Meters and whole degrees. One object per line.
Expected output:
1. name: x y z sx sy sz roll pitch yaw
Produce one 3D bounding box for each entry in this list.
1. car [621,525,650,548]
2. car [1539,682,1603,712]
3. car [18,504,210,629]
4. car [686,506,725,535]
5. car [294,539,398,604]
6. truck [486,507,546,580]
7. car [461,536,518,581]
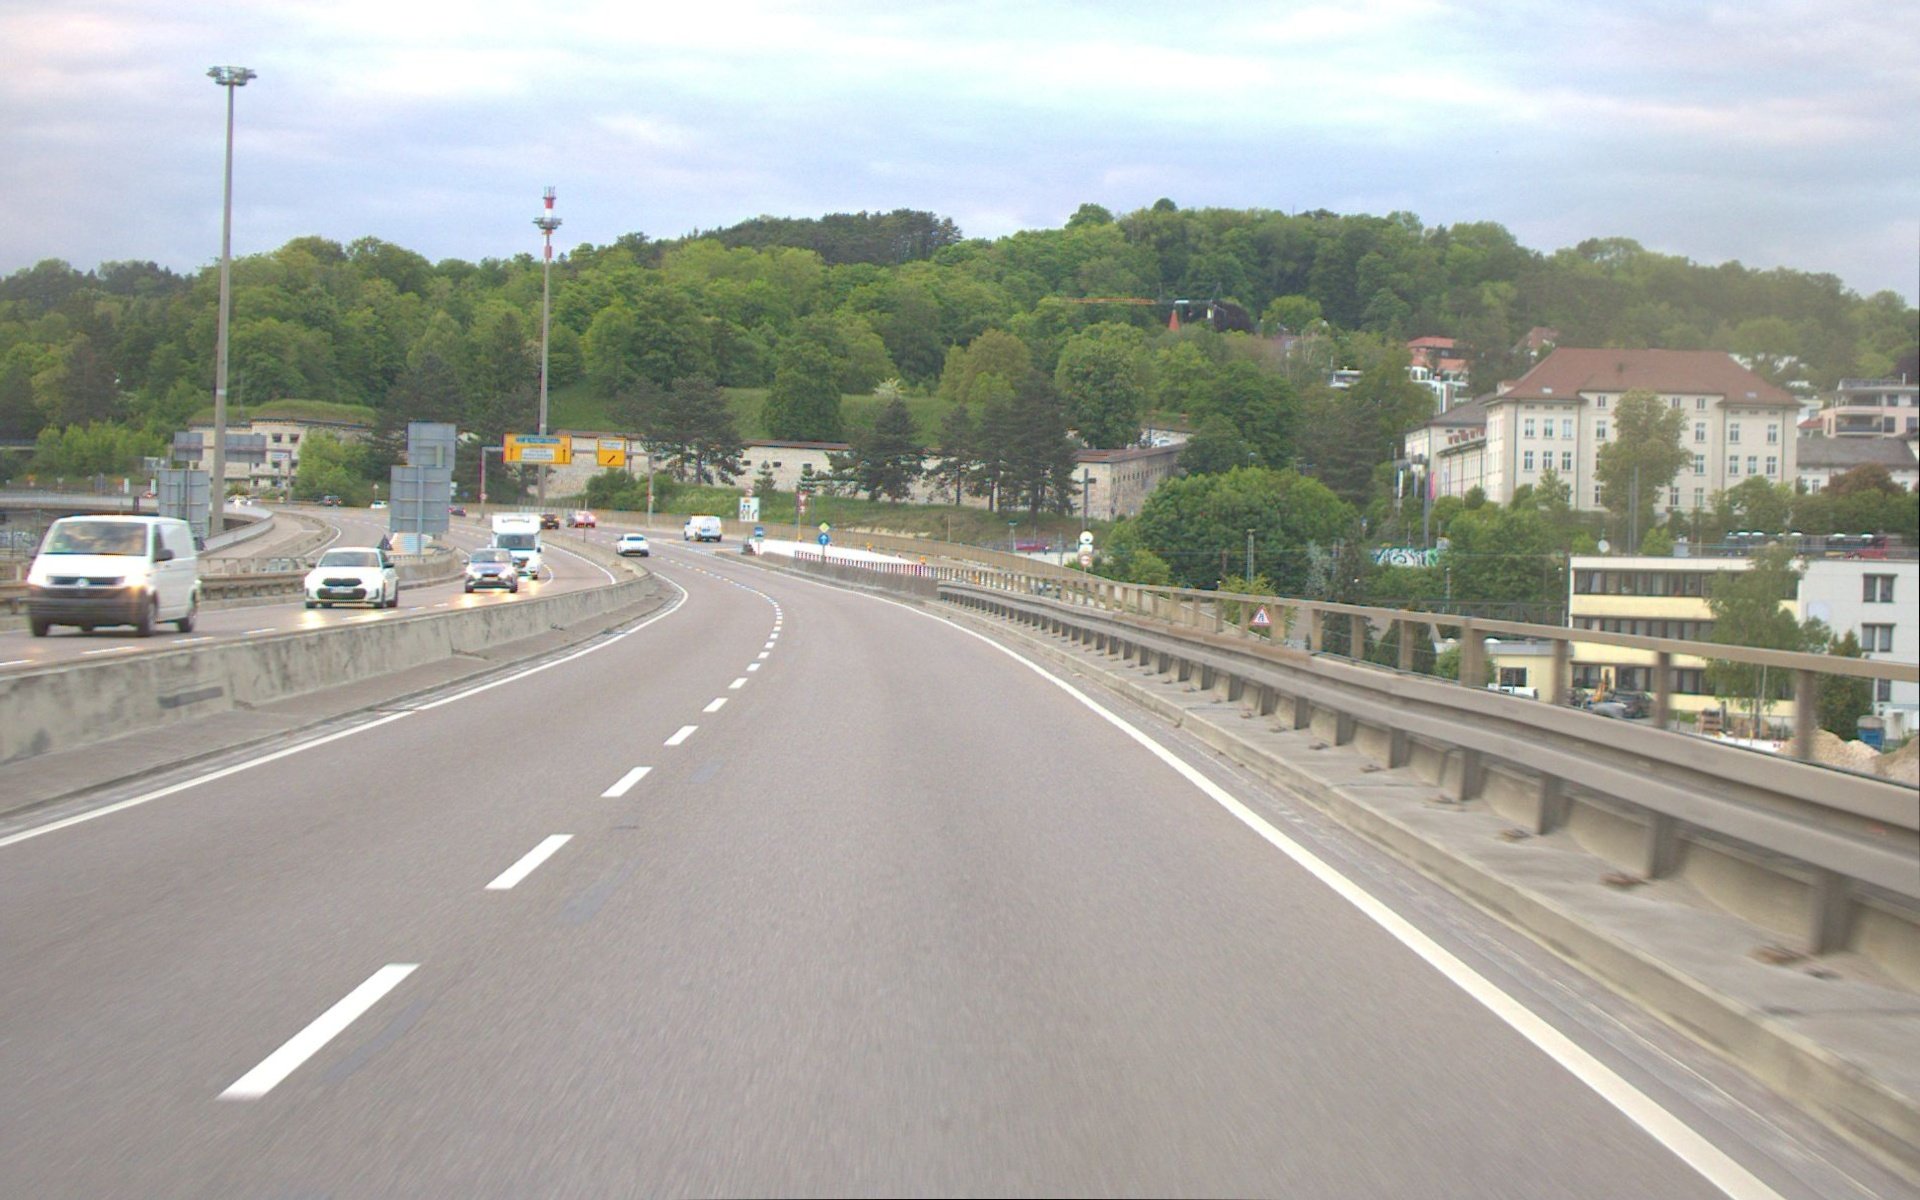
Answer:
1. car: -21.108 -4.148 223.725 1.630 1.383 4.002 0 2 -9
2. car: 40.283 6.410 226.529 3.987 1.560 1.832 5 2 -38
3. car: -13.517 -0.555 55.243 1.901 1.894 5.460 1 1 -2
4. car: -19.099 -5.980 257.996 1.993 2.006 4.110 1 3 -18
5. car: -14.598 -0.700 81.940 1.831 1.498 4.817 0 1 -3
6. truck: -20.735 -2.637 160.861 2.534 3.285 7.448 1 1 -6
7. car: -15.718 -1.391 115.015 1.628 1.436 3.837 1 2 -4
